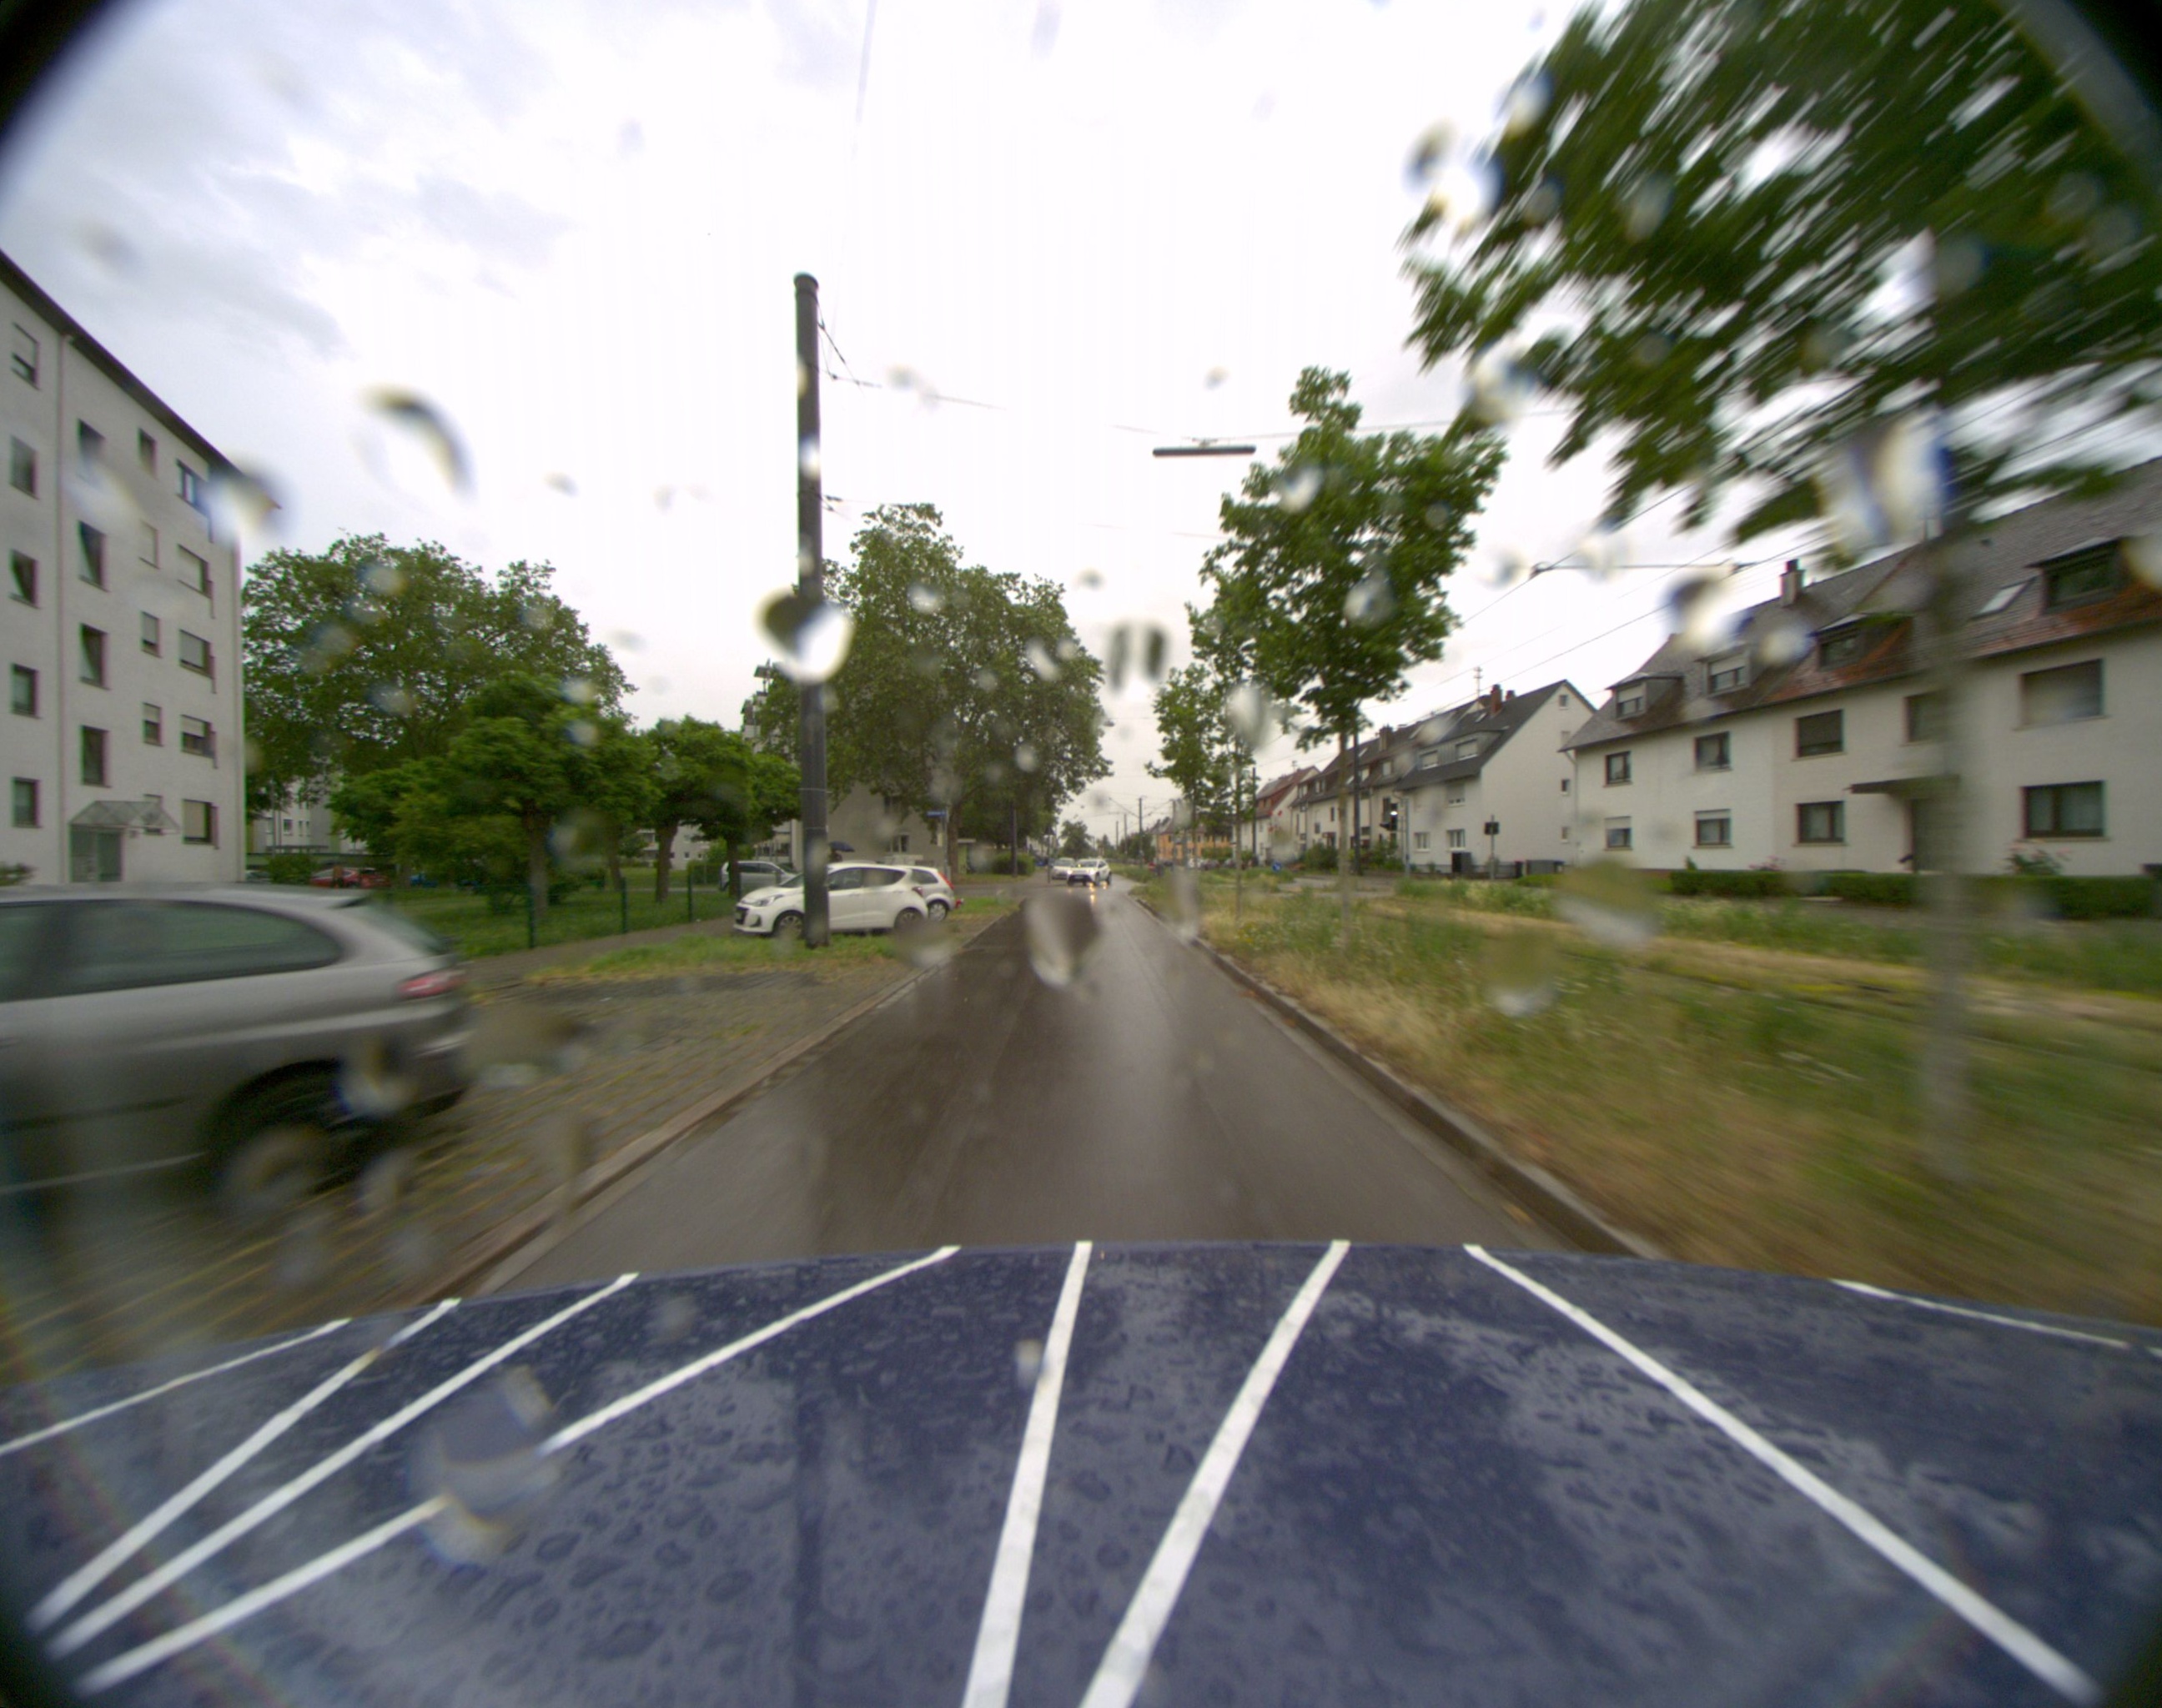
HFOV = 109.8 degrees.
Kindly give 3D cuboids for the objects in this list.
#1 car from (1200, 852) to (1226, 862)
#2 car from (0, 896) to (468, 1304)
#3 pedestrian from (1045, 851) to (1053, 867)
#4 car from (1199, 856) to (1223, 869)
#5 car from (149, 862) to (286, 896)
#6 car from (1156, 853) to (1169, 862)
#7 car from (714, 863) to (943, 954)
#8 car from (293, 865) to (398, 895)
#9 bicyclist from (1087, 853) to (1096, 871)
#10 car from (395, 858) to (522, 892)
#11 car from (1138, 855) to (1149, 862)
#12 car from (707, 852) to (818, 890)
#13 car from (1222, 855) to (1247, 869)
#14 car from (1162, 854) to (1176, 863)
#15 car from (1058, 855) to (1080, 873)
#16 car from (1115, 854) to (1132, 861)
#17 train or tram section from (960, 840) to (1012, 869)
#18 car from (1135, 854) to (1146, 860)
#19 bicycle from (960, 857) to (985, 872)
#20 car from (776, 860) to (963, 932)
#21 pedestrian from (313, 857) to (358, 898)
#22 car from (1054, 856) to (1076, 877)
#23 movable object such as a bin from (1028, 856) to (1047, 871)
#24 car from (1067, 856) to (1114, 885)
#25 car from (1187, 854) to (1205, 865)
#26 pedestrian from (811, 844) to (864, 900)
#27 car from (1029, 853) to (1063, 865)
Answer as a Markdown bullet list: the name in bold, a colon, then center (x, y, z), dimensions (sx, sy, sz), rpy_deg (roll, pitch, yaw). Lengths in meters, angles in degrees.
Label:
- **car**: center (22.330, 0.552, 128.838), dimensions (3.997, 1.586, 1.913), rpy_deg (-1, 0, 1)
- **car**: center (-5.112, 0.987, 3.122), dimensions (4.008, 1.420, 1.730), rpy_deg (0, 0, -40)
- **pedestrian**: center (-3.632, 0.560, 85.687), dimensions (0.865, 1.764, 1.018), rpy_deg (0, 1, -8)
- **car**: center (15.295, 0.959, 89.763), dimensions (1.892, 1.522, 4.755), rpy_deg (1, 0, -2)
- **car**: center (-39.453, 1.128, 34.787), dimensions (4.304, 1.497, 1.685), rpy_deg (0, 1, 0)
- **car**: center (15.200, 0.634, 142.240), dimensions (1.998, 1.648, 4.000), rpy_deg (-1, 0, 1)
- **car**: center (-4.991, 0.983, 15.268), dimensions (4.008, 1.499, 1.700), rpy_deg (0, 2, -38)
- **car**: center (-39.126, 1.381, 40.485), dimensions (4.001, 1.497, 1.740), rpy_deg (0, 1, 2)
- **bicyclist**: center (0.816, 0.635, 61.462), dimensions (0.710, 1.503, 0.715), rpy_deg (0, 0, -1)
- **car**: center (-28.572, 0.935, 34.978), dimensions (4.303, 1.497, 1.937), rpy_deg (0, 1, 2)
- **car**: center (13.760, 1.007, 166.468), dimensions (1.885, 1.423, 4.076), rpy_deg (0, 0, -2)
- **car**: center (-14.547, 0.765, 34.842), dimensions (4.303, 1.671, 1.871), rpy_deg (0, 1, 2)
- **car**: center (15.527, 0.805, 77.029), dimensions (1.777, 1.417, 3.937), rpy_deg (1, 0, -1)
- **car**: center (14.905, 0.756, 128.651), dimensions (1.912, 1.581, 3.999), rpy_deg (0, 0, -1)
- **car**: center (-1.106, 0.854, 68.405), dimensions (1.905, 1.566, 4.111), rpy_deg (0, 0, -2)
- **car**: center (10.881, 0.960, 193.753), dimensions (3.998, 1.637, 1.893), rpy_deg (1, 0, -4)
- **train or tram section**: center (-11.295, 0.036, 89.872), dimensions (2.763, 3.320, 6.382), rpy_deg (0, 0, -44)
- **car**: center (13.750, 0.668, 175.192), dimensions (2.096, 1.423, 4.076), rpy_deg (0, 0, -2)
- **bicycle**: center (-8.803, 0.854, 61.633), dimensions (1.864, 1.135, 0.532), rpy_deg (-1, 0, -25)
- **car**: center (-5.113, 0.932, 18.508), dimensions (4.007, 1.499, 1.779), rpy_deg (0, 2, -35)
- **pedestrian**: center (-32.290, 1.021, 32.925), dimensions (1.181, 1.758, 0.720), rpy_deg (-1, 0, -2)
- **car**: center (-1.190, 0.905, 56.949), dimensions (1.562, 1.510, 3.999), rpy_deg (0, 0, -2)
- **movable object such as a bin**: center (-4.217, 0.900, 73.331), dimensions (1.155, 1.432, 1.472), rpy_deg (0, 0, -40)
- **car**: center (0.602, 0.919, 44.062), dimensions (1.851, 1.500, 4.124), rpy_deg (-1, 0, 14)
- **car**: center (15.246, 0.754, 100.942), dimensions (1.715, 1.432, 3.999), rpy_deg (1, 0, -2)
- **pedestrian**: center (-8.119, 0.582, 25.363), dimensions (1.101, 1.803, 1.435), rpy_deg (0, 0, 11)
- **car**: center (-4.492, 0.666, 98.032), dimensions (4.007, 1.518, 1.715), rpy_deg (0, 0, -33)
